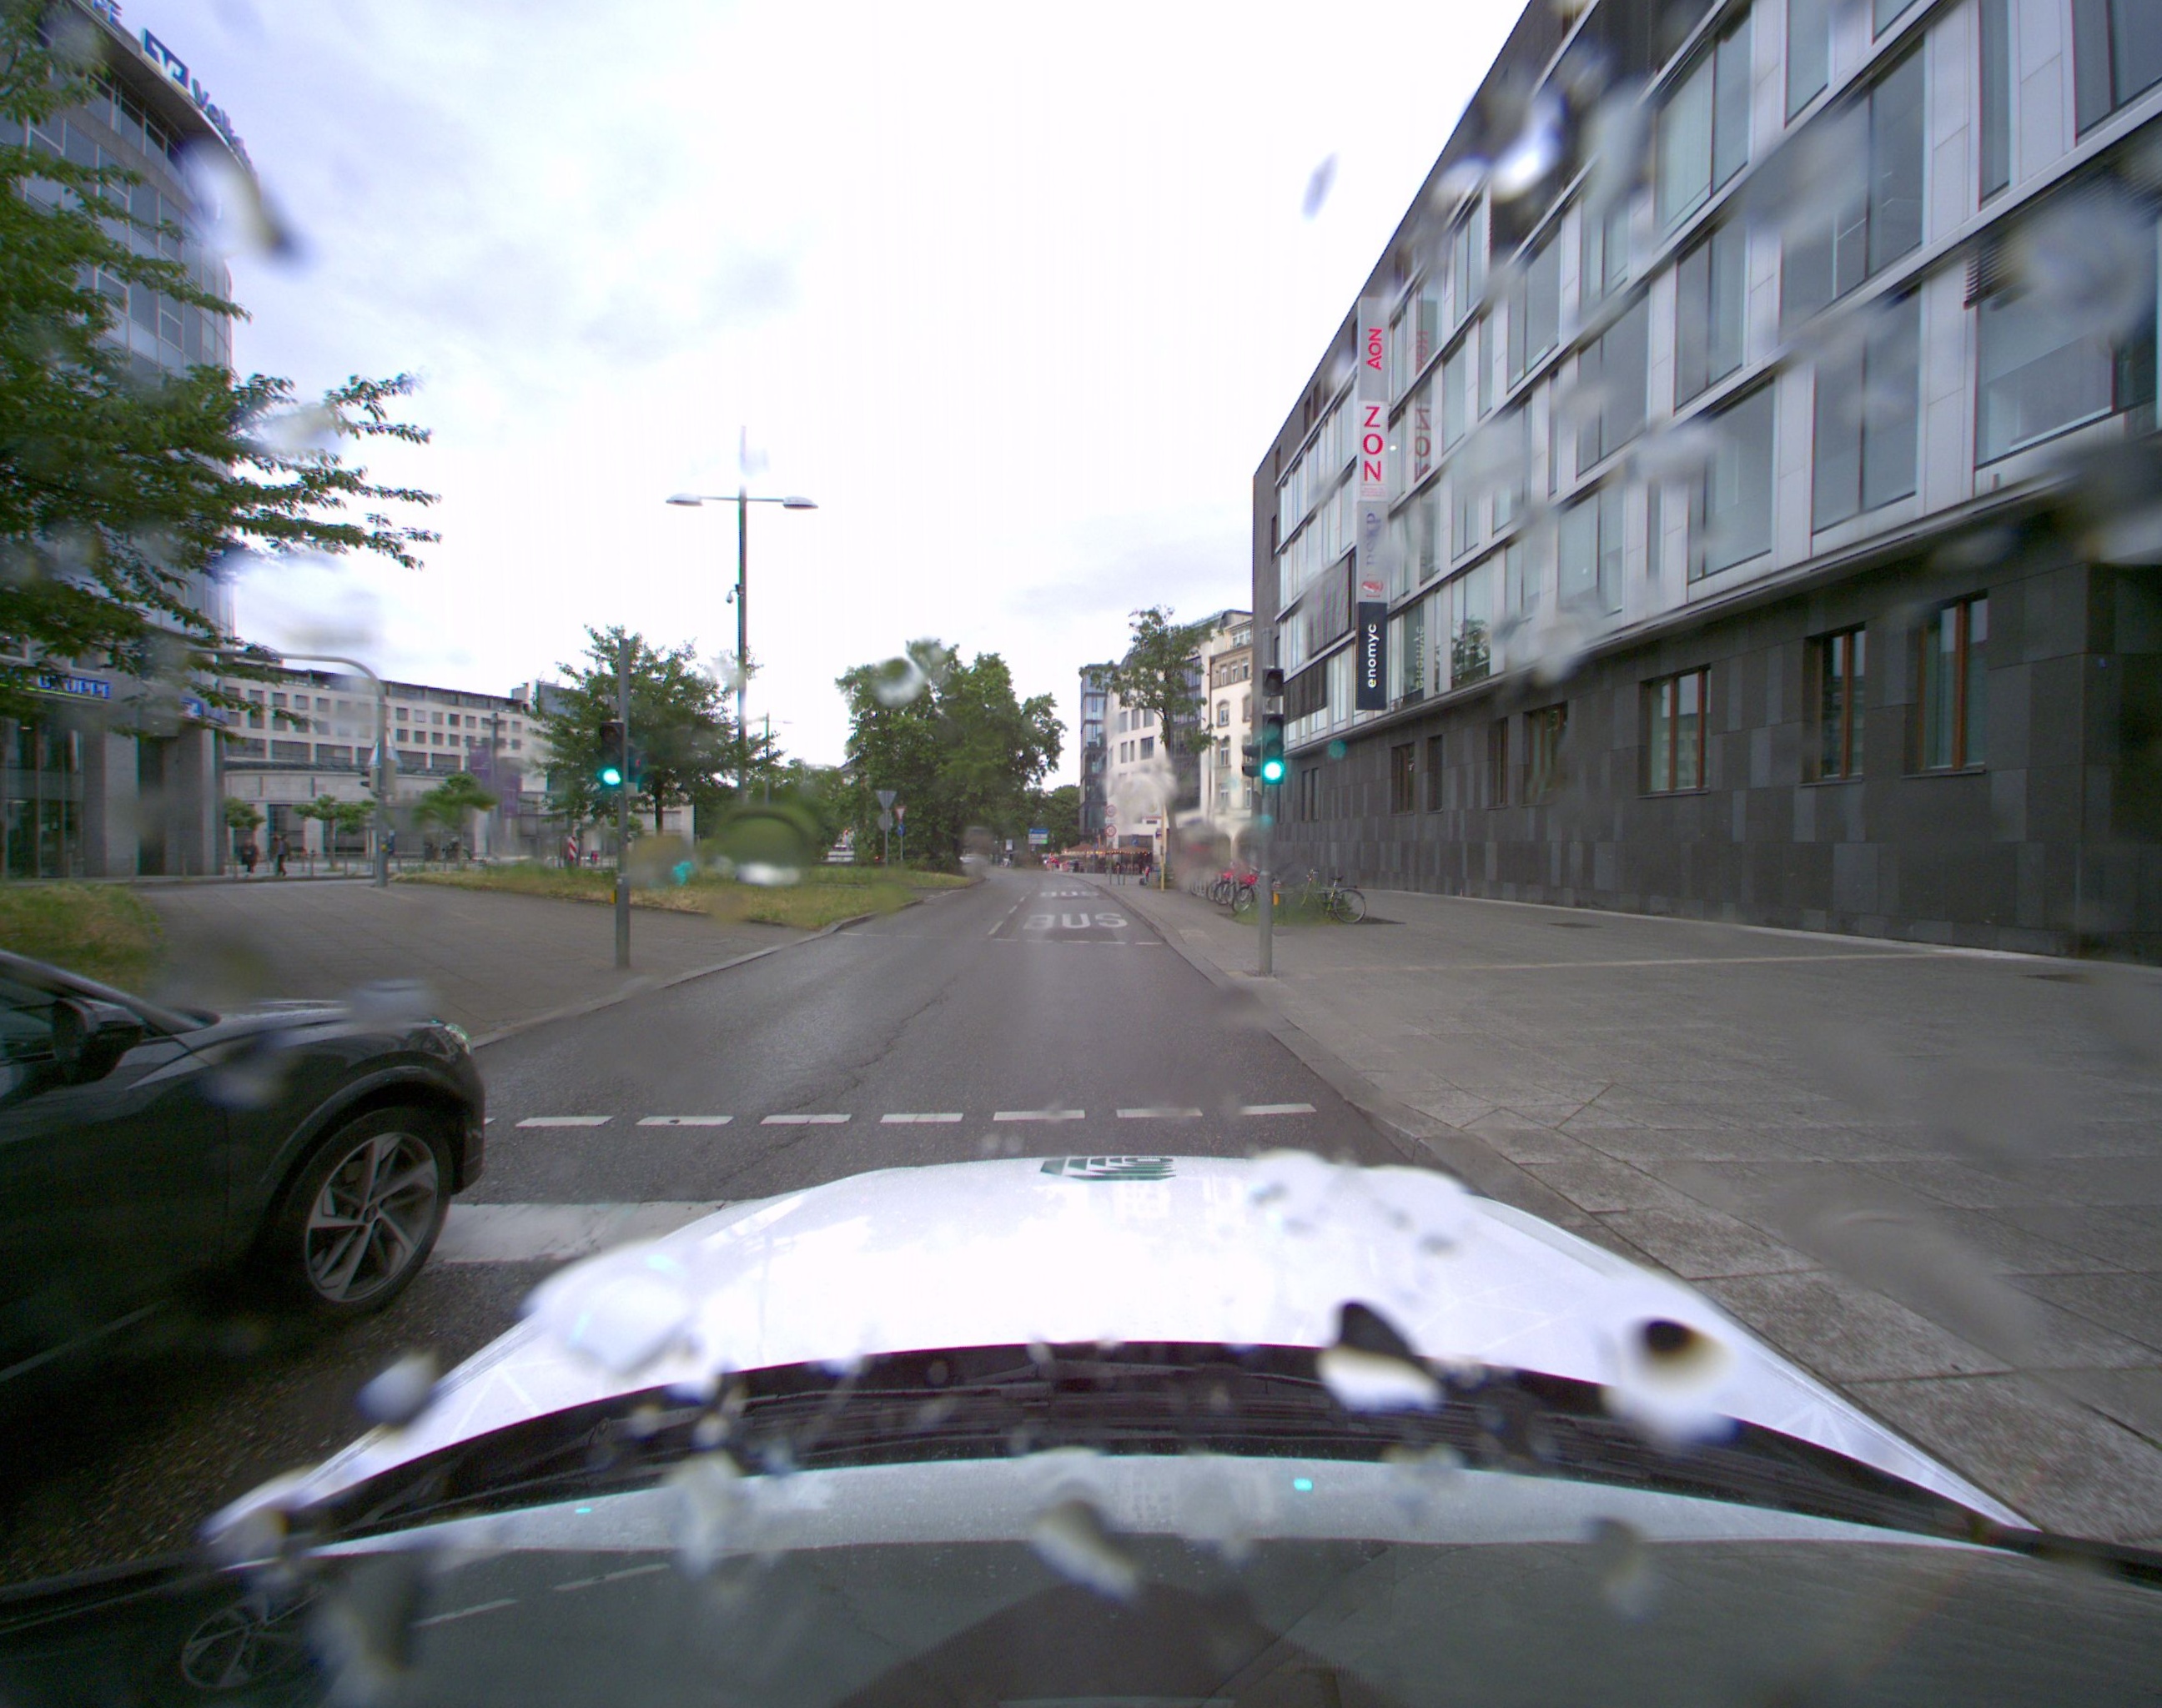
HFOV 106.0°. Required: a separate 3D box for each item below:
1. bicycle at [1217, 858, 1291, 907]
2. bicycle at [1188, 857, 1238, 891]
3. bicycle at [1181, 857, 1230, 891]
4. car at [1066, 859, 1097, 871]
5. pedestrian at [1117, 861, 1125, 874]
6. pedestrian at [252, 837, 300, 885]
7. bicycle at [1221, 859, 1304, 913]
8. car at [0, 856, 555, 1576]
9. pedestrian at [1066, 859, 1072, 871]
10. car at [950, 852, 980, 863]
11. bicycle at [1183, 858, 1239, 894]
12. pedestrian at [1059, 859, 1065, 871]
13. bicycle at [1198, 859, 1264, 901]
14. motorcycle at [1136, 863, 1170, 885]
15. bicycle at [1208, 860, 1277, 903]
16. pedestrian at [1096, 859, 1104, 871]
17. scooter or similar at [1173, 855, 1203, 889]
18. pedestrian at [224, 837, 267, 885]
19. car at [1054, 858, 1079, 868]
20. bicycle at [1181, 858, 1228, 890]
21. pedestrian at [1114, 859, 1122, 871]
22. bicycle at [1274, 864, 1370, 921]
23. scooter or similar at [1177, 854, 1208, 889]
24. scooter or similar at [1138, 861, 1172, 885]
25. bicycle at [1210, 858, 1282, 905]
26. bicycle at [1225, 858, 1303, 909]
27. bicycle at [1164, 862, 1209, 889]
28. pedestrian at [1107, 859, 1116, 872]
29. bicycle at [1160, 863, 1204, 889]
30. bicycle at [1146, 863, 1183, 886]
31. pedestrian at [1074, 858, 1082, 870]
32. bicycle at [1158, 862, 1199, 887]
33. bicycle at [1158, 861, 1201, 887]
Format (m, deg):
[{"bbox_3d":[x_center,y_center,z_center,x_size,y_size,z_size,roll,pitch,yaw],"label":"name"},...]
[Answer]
[{"bbox_3d":[4.393,0.713,20.718,1.729,1.183,0.687,-1,0,-9],"label":"bicycle"},{"bbox_3d":[4.406,0.671,27.298,1.533,1.140,0.687,0,-2,-9],"label":"bicycle"},{"bbox_3d":[4.297,0.688,28.070,1.533,1.140,0.687,0,-2,-9],"label":"bicycle"},{"bbox_3d":[0.045,1.635,124.643,4.723,1.691,2.003,1,0,-3],"label":"car"},{"bbox_3d":[4.216,1.414,86.159,0.630,1.326,0.630,3,-1,-27],"label":"pedestrian"},{"bbox_3d":[-34.482,0.306,34.909,1.054,2.014,1.030,0,-1,-15],"label":"pedestrian"},{"bbox_3d":[4.155,0.712,18.689,1.729,1.183,0.687,-1,0,-9],"label":"bicycle"},{"bbox_3d":[-3.203,0.764,1.388,1.856,1.517,4.342,0,0,-2],"label":"car"},{"bbox_3d":[-1.344,1.309,94.028,0.605,1.326,0.566,3,-1,-6],"label":"pedestrian"},{"bbox_3d":[-18.193,0.508,127.885,4.304,1.666,1.959,0,-1,10],"label":"car"},{"bbox_3d":[4.216,0.723,26.468,1.705,1.140,0.687,0,-2,-9],"label":"bicycle"},{"bbox_3d":[-2.181,1.262,93.913,0.605,1.326,0.566,3,-1,-6],"label":"pedestrian"},{"bbox_3d":[4.288,0.734,23.354,1.729,1.140,0.687,-1,0,-9],"label":"bicycle"},{"bbox_3d":[4.033,1.127,45.623,1.790,1.140,0.594,2,-2,-8],"label":"motorcycle"},{"bbox_3d":[4.457,0.739,22.553,1.729,1.140,0.687,-1,0,-9],"label":"bicycle"},{"bbox_3d":[2.257,1.290,96.325,0.816,1.326,0.634,3,-1,-6],"label":"pedestrian"},{"bbox_3d":[3.992,0.684,30.399,1.060,1.258,0.301,0,-2,-9],"label":"scooter or similar"},{"bbox_3d":[-35.445,0.310,34.564,0.851,2.014,1.030,0,-1,-15],"label":"pedestrian"},{"bbox_3d":[-2.315,1.469,131.968,3.950,1.510,1.811,1,0,43],"label":"car"},{"bbox_3d":[4.389,0.707,28.894,1.533,1.140,0.660,0,-2,-9],"label":"bicycle"},{"bbox_3d":[3.978,1.178,87.458,0.630,1.326,0.630,3,-1,-27],"label":"pedestrian"},{"bbox_3d":[4.848,0.761,16.404,1.729,1.070,0.687,-1,0,-9],"label":"bicycle"},{"bbox_3d":[4.102,0.642,30.043,1.105,1.258,0.301,0,-2,-9],"label":"scooter or similar"},{"bbox_3d":[4.049,1.044,44.653,1.790,1.243,0.594,2,-2,-8],"label":"scooter or similar"},{"bbox_3d":[4.374,0.716,21.635,1.729,1.183,0.687,-1,0,-9],"label":"bicycle"},{"bbox_3d":[4.463,0.712,19.885,1.729,1.183,0.687,-1,0,-9],"label":"bicycle"},{"bbox_3d":[4.451,0.898,34.361,1.792,1.068,0.555,2,-2,-7],"label":"bicycle"},{"bbox_3d":[2.999,1.137,80.867,0.773,1.326,0.634,3,-1,-7],"label":"pedestrian"},{"bbox_3d":[4.341,0.937,35.168,1.792,1.068,0.555,2,-2,-7],"label":"bicycle"},{"bbox_3d":[4.357,1.071,42.577,1.793,1.108,0.668,2,-2,-8],"label":"bicycle"},{"bbox_3d":[-0.359,1.184,95.936,0.816,1.326,0.634,3,-1,-6],"label":"pedestrian"},{"bbox_3d":[4.531,0.967,37.913,1.793,1.108,0.668,2,-2,-8],"label":"bicycle"},{"bbox_3d":[4.366,0.891,35.961,1.792,1.068,0.555,2,-2,-7],"label":"bicycle"}]
